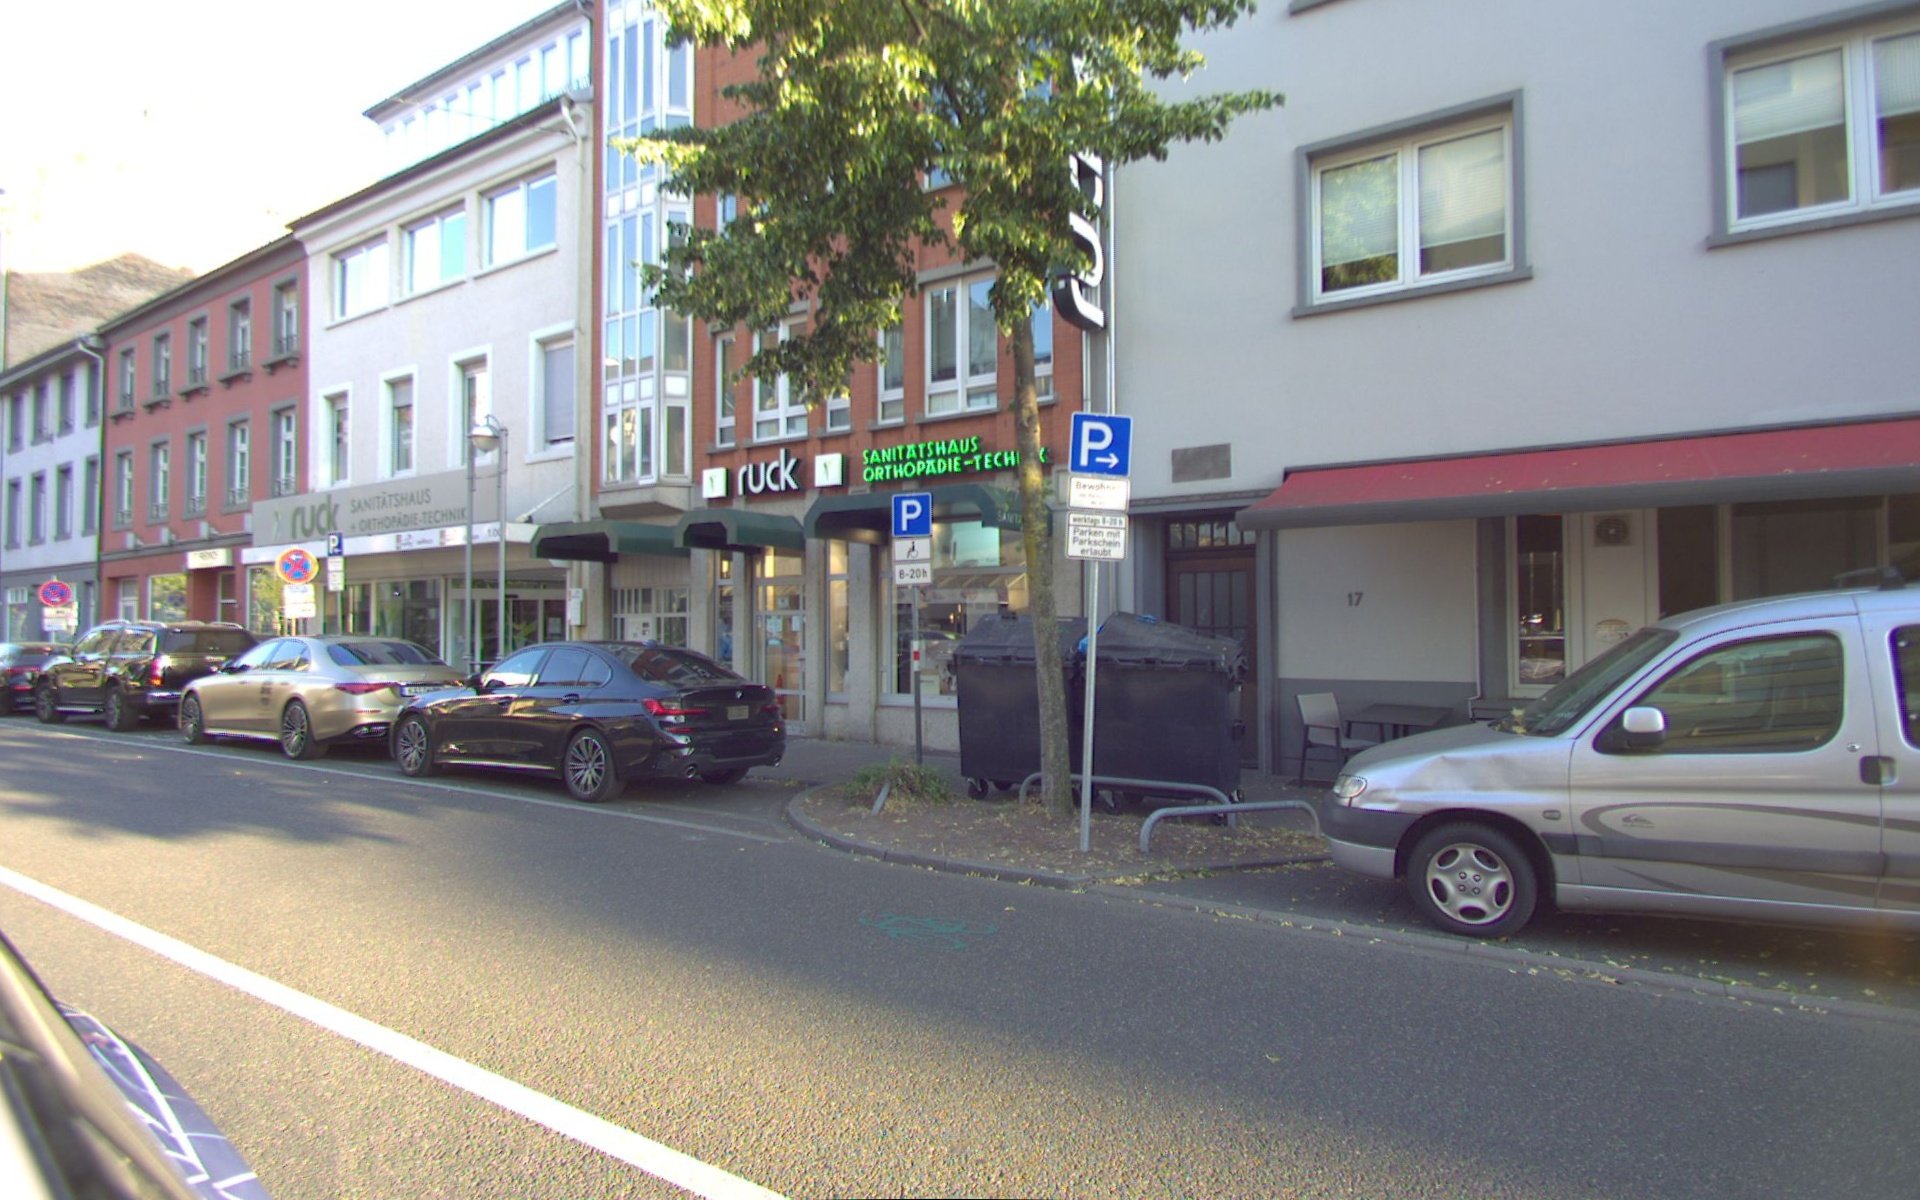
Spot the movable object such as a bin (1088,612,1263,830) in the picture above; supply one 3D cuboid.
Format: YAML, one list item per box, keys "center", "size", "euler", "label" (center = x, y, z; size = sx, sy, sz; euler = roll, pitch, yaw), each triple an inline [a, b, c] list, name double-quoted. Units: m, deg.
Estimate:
- center: [1.766, 0.930, 8.275]
  size: [1.203, 1.632, 0.775]
  euler: [-1, 0, 30]
  label: "movable object such as a bin"

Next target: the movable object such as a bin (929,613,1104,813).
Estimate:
- center: [0.501, 0.951, 9.026]
  size: [1.331, 1.632, 0.775]
  euler: [-1, -1, 30]
  label: "movable object such as a bin"

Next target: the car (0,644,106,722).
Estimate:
- center: [-19.322, 1.656, 20.679]
  size: [4.001, 1.448, 1.688]
  euler: [-2, -5, 32]
  label: "car"

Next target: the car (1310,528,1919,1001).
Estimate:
- center: [3.982, 0.709, 4.990]
  size: [4.038, 1.902, 1.657]
  euler: [-1, -4, 31]
  label: "car"

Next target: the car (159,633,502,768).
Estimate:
- center: [-8.470, 1.235, 13.458]
  size: [5.094, 1.484, 1.977]
  euler: [-2, -4, 34]
  label: "car"

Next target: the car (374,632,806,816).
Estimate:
- center: [-3.838, 1.118, 10.205]
  size: [4.528, 1.484, 1.706]
  euler: [-2, -5, 33]
  label: "car"

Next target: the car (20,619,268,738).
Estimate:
- center: [-14.050, 1.291, 17.349]
  size: [4.921, 1.793, 1.708]
  euler: [-2, -4, 31]
  label: "car"
